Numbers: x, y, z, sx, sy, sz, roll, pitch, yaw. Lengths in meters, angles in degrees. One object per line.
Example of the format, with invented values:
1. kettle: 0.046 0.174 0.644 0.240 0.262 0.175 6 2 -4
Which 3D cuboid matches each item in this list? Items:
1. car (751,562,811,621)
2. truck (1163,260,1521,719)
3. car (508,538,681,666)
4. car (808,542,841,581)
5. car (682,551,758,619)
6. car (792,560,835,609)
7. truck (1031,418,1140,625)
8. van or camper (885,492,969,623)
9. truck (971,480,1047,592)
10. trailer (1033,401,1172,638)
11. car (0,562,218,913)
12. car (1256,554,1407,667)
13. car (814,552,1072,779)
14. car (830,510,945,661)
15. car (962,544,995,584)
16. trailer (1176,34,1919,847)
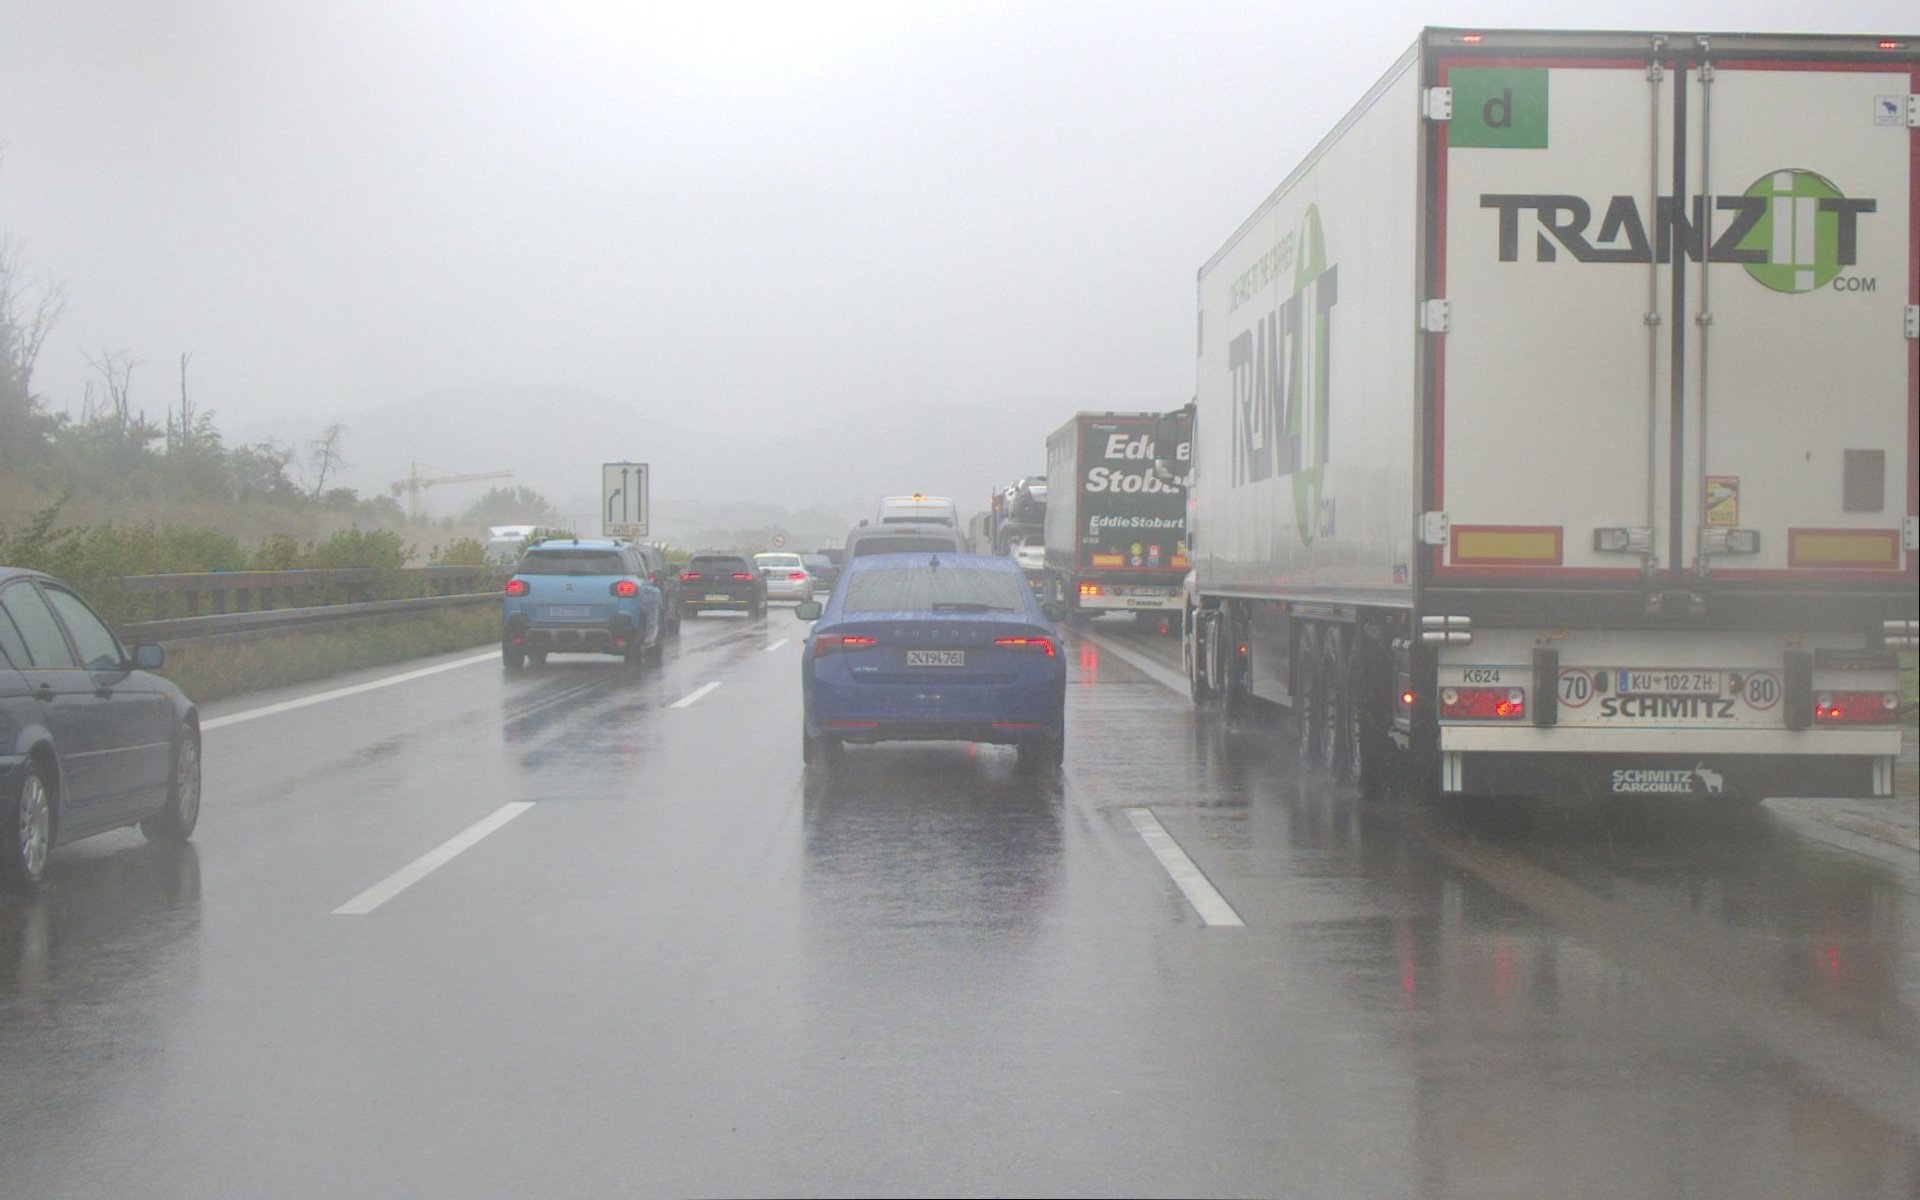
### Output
1. car: -4.739 -0.241 91.352 1.439 1.528 3.322 0 1 -1
2. truck: 3.326 -0.962 31.079 2.630 3.814 4.791 0 1 -1
3. car: -4.550 -0.003 43.279 1.721 1.518 4.000 0 1 0
4. car: -6.312 -1.785 160.260 1.448 1.777 3.409 1 0 -1
5. car: -5.157 -0.349 74.162 1.439 1.415 3.322 0 1 -1
6. car: -5.450 -0.579 128.187 1.448 1.777 3.409 1 0 -1
7. truck: 2.571 -1.628 71.455 2.047 4.178 4.000 0 1 -1
8. van or camper: -0.736 -0.948 76.140 1.797 2.797 4.768 0 1 -1
9. truck: 1.511 -2.041 108.713 1.993 3.410 8.033 0 1 -2
10. trailer: 2.627 -1.516 66.201 2.047 4.162 11.449 0 1 -1
11. car: -4.686 0.532 15.494 1.718 1.395 4.230 0 1 1
12. car: 4.486 0.101 41.845 1.423 1.284 3.461 0 1 -1
13. car: -0.103 0.391 23.906 1.635 1.440 4.000 0 1 0
14. car: -0.868 -0.200 42.050 1.336 1.774 3.322 0 1 -1
15. car: 0.856 -1.662 157.868 1.448 1.777 3.409 1 0 -1
16. trailer: 3.397 -0.920 24.294 2.630 3.999 14.630 0 1 -1
